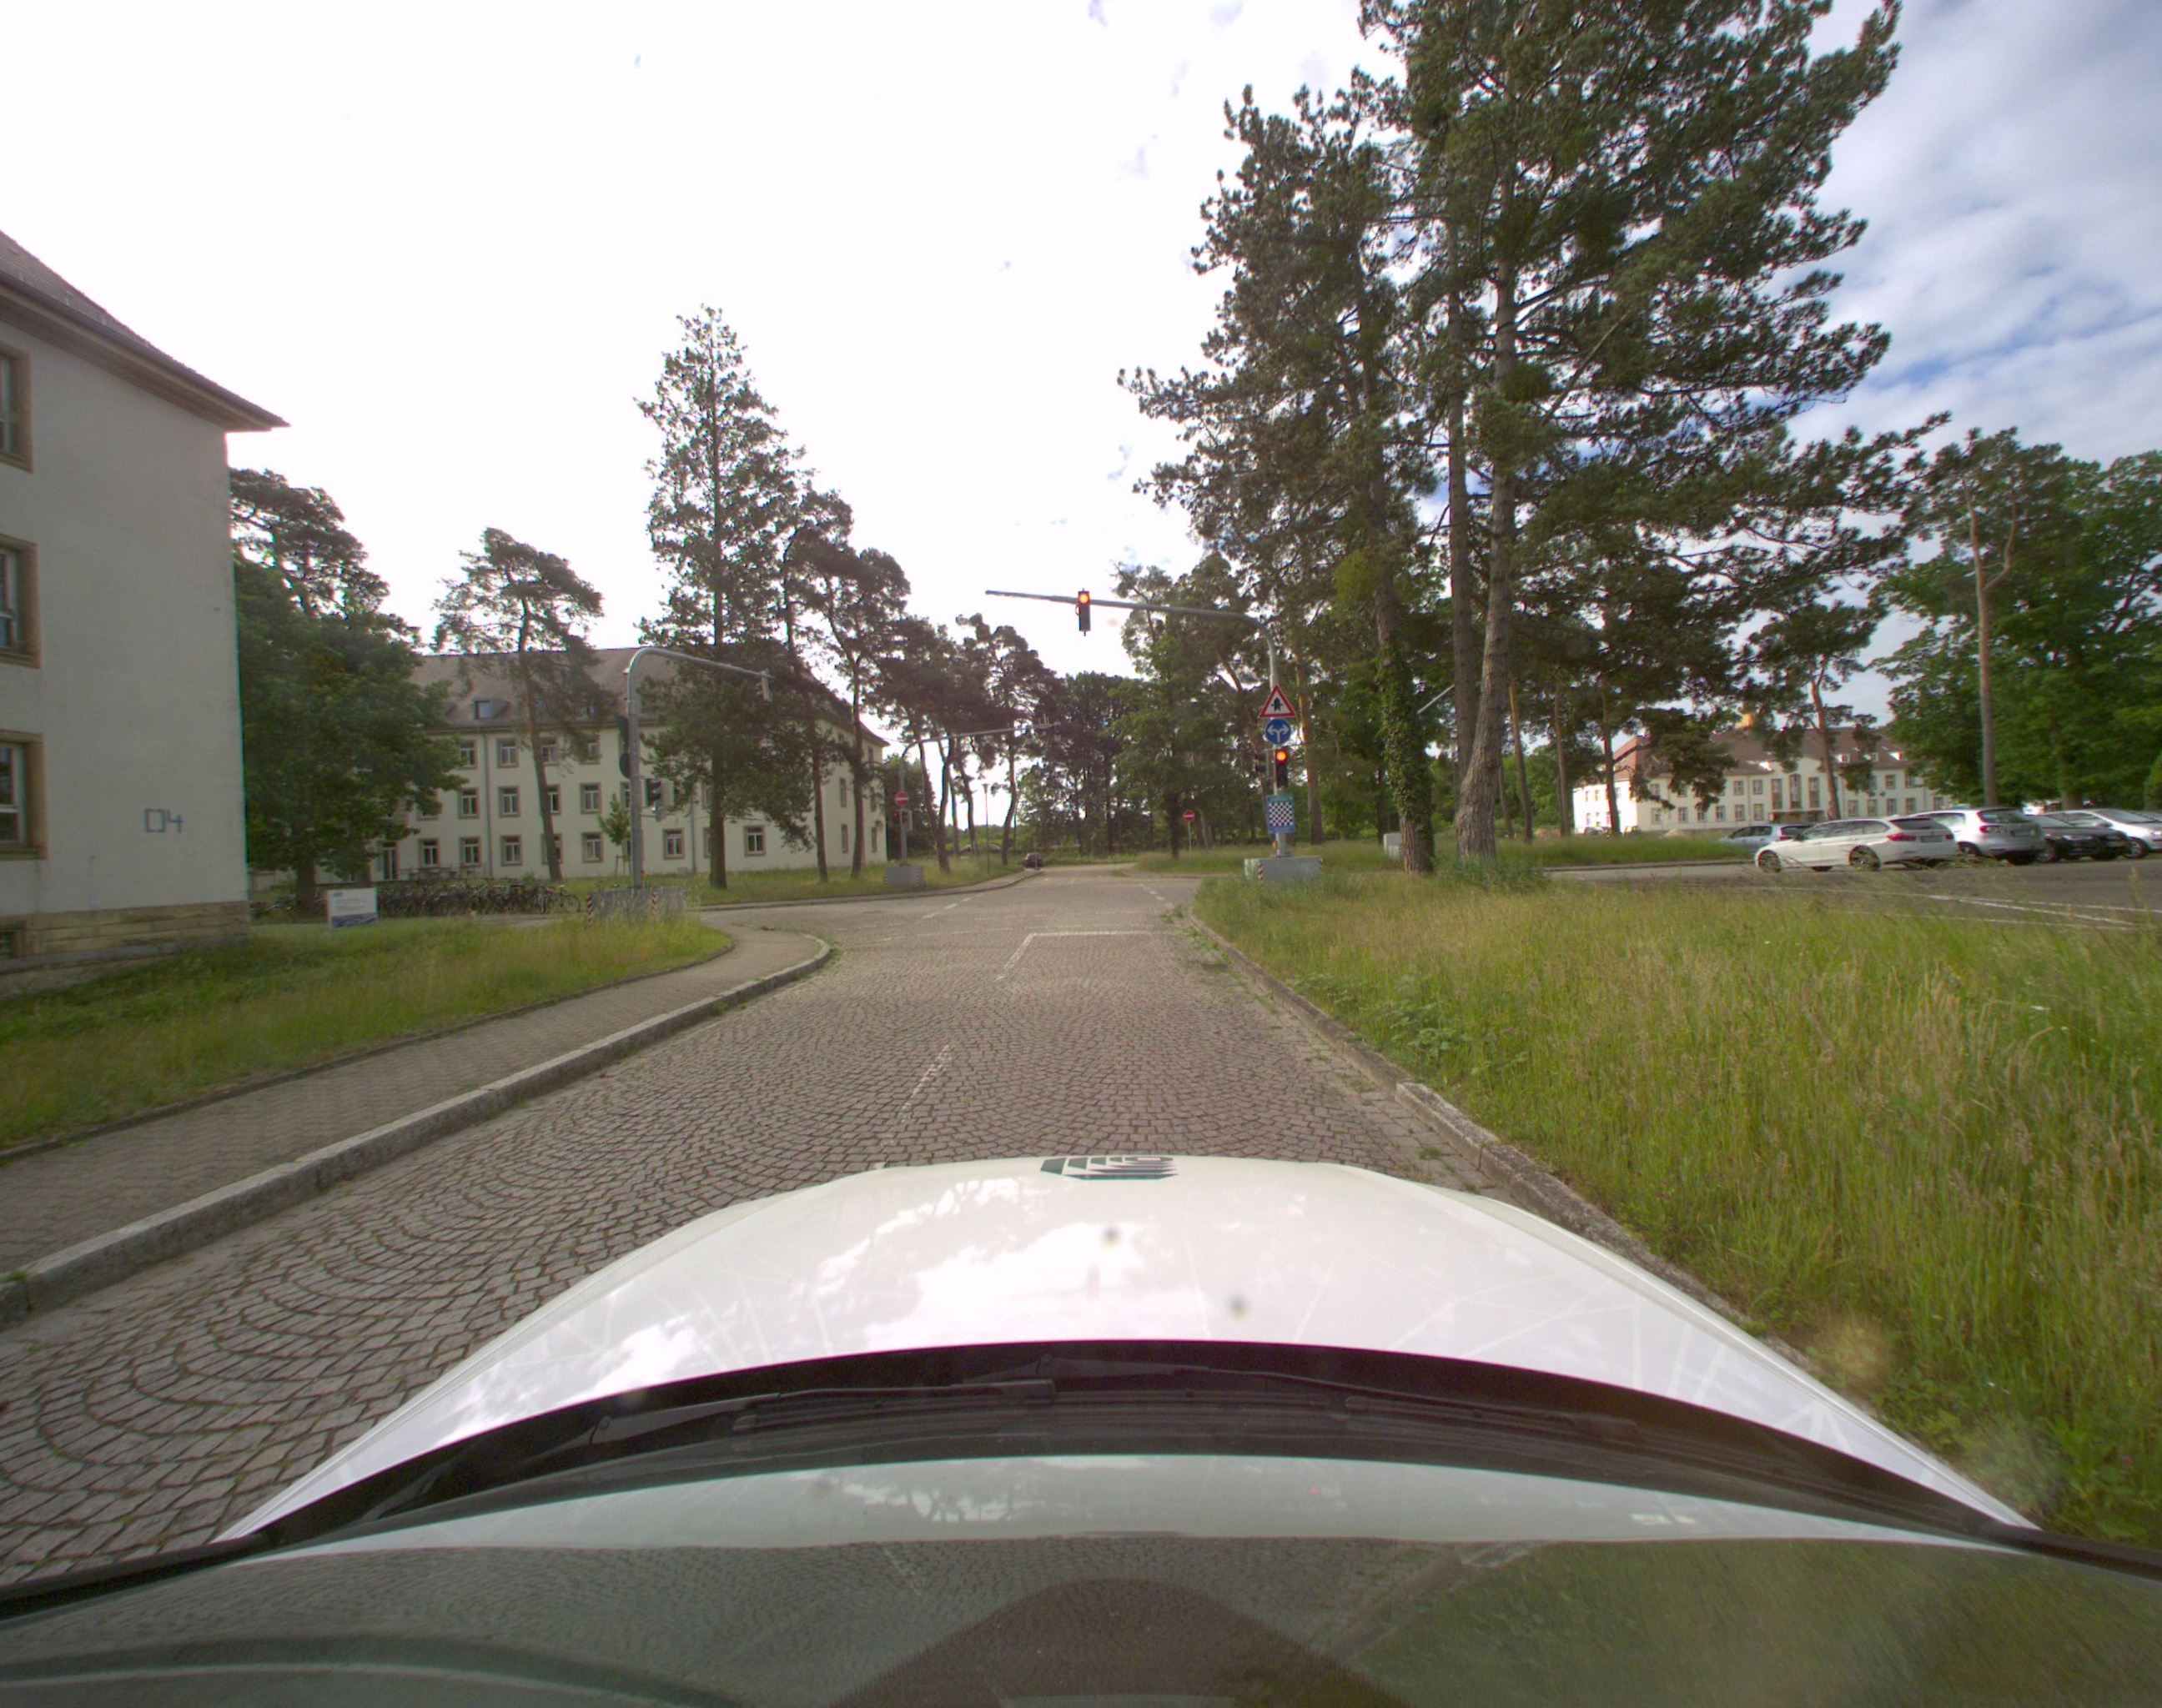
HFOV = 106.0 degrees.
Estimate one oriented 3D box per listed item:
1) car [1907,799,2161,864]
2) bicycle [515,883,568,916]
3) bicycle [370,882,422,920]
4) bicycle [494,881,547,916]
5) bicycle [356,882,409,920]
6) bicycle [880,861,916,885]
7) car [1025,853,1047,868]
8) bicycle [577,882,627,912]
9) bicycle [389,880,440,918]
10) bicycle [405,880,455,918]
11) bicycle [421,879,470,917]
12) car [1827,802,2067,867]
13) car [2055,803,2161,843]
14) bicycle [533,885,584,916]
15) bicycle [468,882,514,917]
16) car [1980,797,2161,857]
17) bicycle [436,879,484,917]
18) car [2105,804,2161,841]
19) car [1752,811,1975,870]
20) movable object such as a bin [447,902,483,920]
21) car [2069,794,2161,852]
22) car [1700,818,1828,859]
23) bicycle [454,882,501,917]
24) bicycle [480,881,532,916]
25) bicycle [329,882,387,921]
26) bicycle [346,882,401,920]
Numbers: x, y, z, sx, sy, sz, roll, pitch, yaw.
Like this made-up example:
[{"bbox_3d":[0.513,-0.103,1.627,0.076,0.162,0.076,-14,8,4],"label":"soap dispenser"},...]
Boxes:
[{"bbox_3d":[26.606,-0.580,23.023,1.862,1.577,4.443,-2,0,-3],"label":"car"},{"bbox_3d":[-19.932,1.662,30.133,0.573,1.078,1.996,-2,0,-1],"label":"bicycle"},{"bbox_3d":[-25.169,1.700,29.939,0.447,1.283,1.695,-2,0,-1],"label":"bicycle"},{"bbox_3d":[-20.628,1.614,30.032,0.573,1.178,1.953,-2,0,-1],"label":"bicycle"},{"bbox_3d":[-25.656,1.709,29.923,0.447,1.283,1.695,-2,0,-1],"label":"bicycle"},{"bbox_3d":[-8.123,0.824,36.146,1.457,0.996,0.451,-3,0,-6],"label":"bicycle"},{"bbox_3d":[-4.731,0.658,86.017,1.986,1.508,4.002,-1,0,2],"label":"car"},{"bbox_3d":[-16.884,1.513,28.714,1.454,0.996,0.452,-3,0,1],"label":"bicycle"},{"bbox_3d":[-24.506,1.635,29.971,0.447,1.283,1.695,-2,0,-1],"label":"bicycle"},{"bbox_3d":[-23.943,1.624,29.998,0.447,1.283,1.695,-2,0,-1],"label":"bicycle"},{"bbox_3d":[-23.428,1.614,30.046,0.447,1.283,1.695,-2,0,-1],"label":"bicycle"},{"bbox_3d":[23.898,-0.502,22.781,1.862,1.577,4.443,-2,0,-3],"label":"car"},{"bbox_3d":[43.756,-1.286,33.571,1.748,1.524,4.443,-2,0,-3],"label":"car"},{"bbox_3d":[-18.406,1.633,28.681,1.454,0.996,0.452,-3,0,1],"label":"bicycle"},{"bbox_3d":[-21.724,1.647,30.014,0.447,1.178,1.695,-2,0,-1],"label":"bicycle"},{"bbox_3d":[29.259,-0.751,23.390,1.862,1.577,4.443,-2,0,-3],"label":"car"},{"bbox_3d":[-22.924,1.605,30.091,0.447,1.283,1.695,-2,0,-1],"label":"bicycle"},{"bbox_3d":[46.776,-1.394,34.236,1.748,1.524,4.443,-2,0,-3],"label":"car"},{"bbox_3d":[21.323,-0.320,22.502,1.748,1.415,4.443,-2,0,-3],"label":"car"},{"bbox_3d":[-18.616,1.721,24.620,0.747,0.503,0.445,-2,0,1],"label":"movable object such as a bin"},{"bbox_3d":[31.906,-0.926,23.254,1.862,1.686,4.443,-2,0,-3],"label":"car"},{"bbox_3d":[28.675,-0.622,34.394,1.746,1.524,4.450,-3,0,2],"label":"car"},{"bbox_3d":[-22.210,1.643,29.990,0.447,1.178,1.695,-2,0,-1],"label":"bicycle"},{"bbox_3d":[-21.212,1.625,30.074,0.526,1.178,1.930,-2,0,-1],"label":"bicycle"},{"bbox_3d":[-26.589,1.728,29.982,0.447,1.283,1.827,-2,0,-1],"label":"bicycle"},{"bbox_3d":[-26.125,1.724,30.118,0.441,1.283,1.784,-2,0,-1],"label":"bicycle"}]
